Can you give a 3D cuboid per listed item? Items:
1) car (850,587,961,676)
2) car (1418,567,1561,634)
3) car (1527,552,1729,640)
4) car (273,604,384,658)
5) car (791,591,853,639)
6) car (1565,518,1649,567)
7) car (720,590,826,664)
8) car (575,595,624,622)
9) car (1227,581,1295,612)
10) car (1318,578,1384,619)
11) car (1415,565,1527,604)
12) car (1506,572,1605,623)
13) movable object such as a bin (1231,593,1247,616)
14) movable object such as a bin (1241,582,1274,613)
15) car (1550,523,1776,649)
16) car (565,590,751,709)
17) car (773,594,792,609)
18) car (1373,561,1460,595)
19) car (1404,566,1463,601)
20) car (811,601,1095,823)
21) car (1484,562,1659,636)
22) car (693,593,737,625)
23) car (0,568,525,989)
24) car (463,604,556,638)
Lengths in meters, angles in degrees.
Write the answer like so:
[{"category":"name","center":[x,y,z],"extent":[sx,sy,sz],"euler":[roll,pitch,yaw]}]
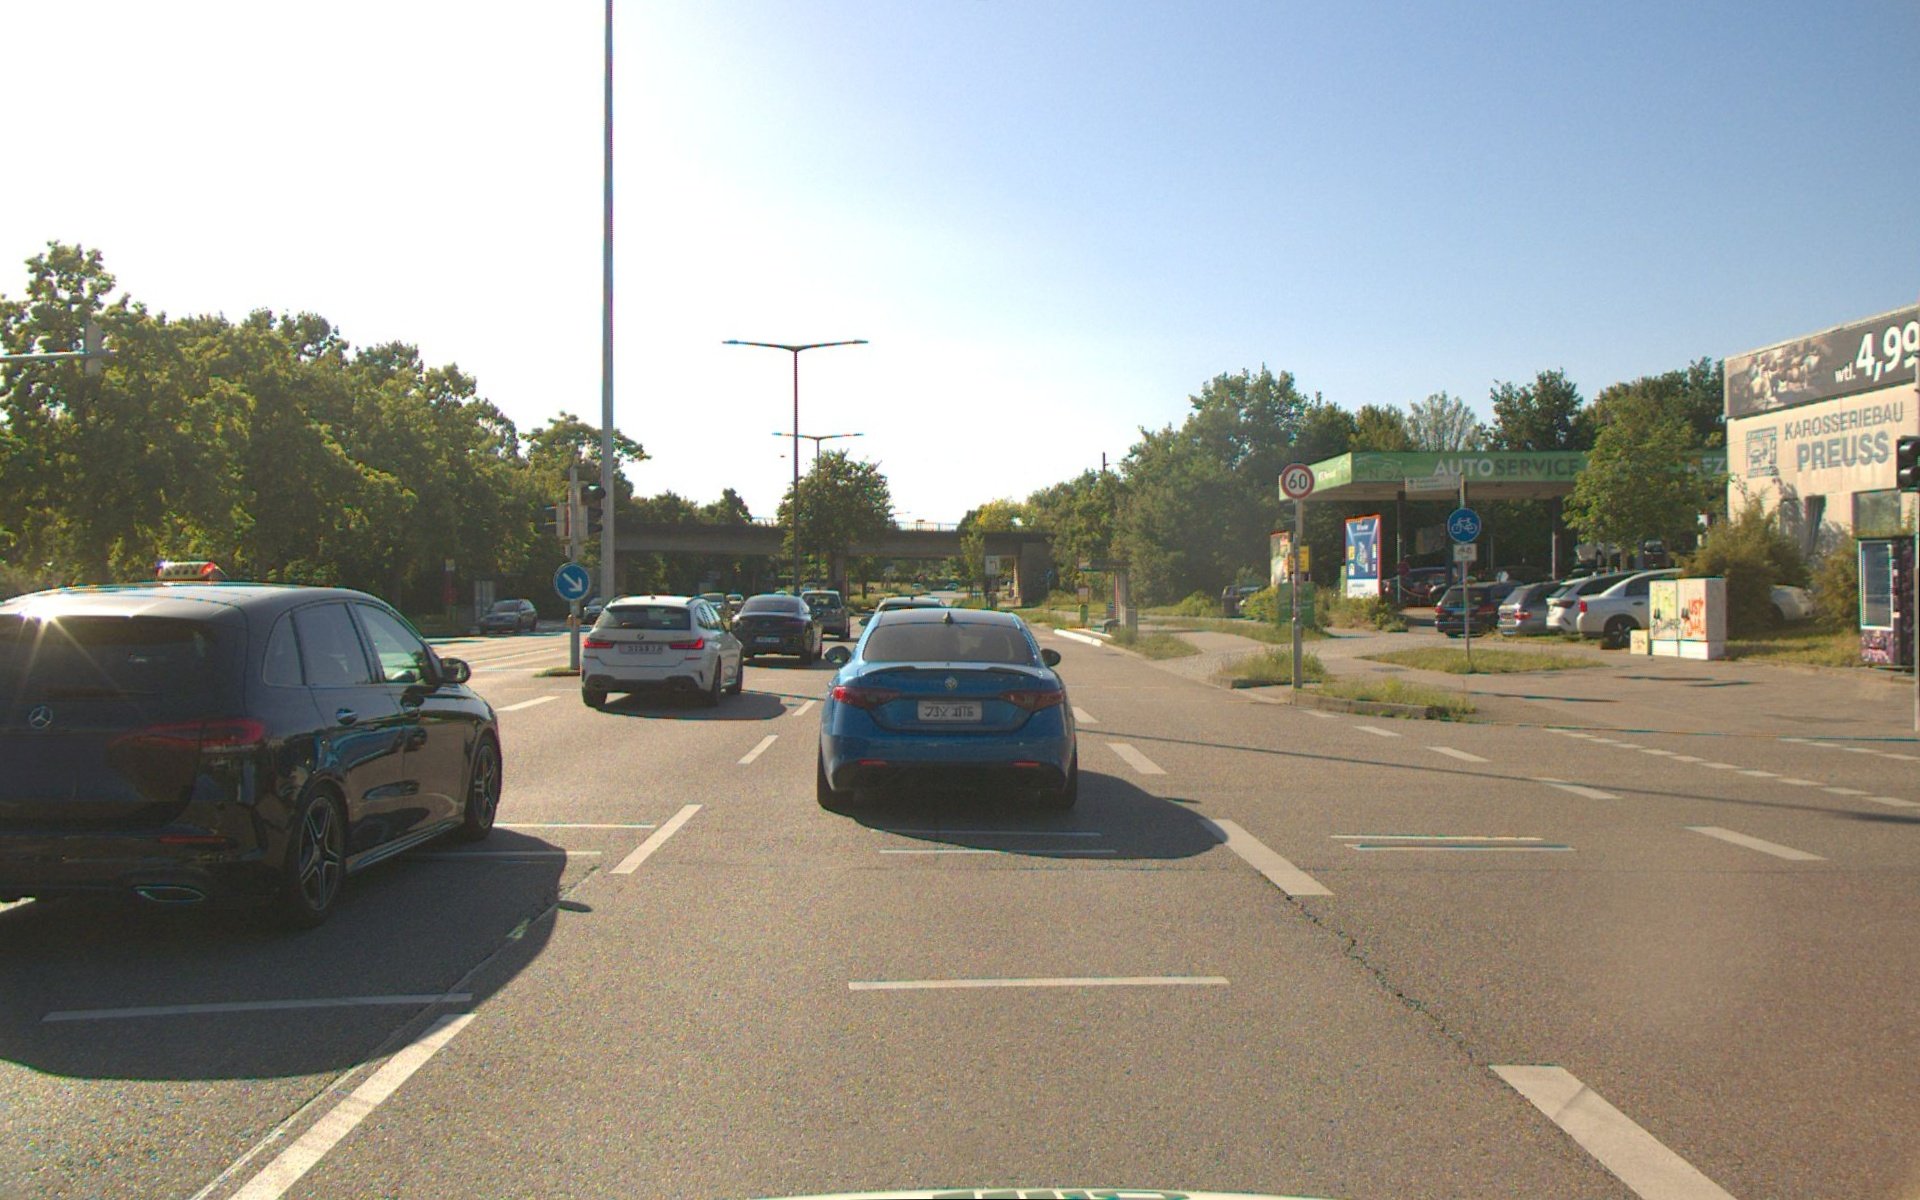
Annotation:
[{"category":"car","center":[-0.968,0.531,30.360],"extent":[1.845,1.479,4.525],"euler":[1,0,-1]},{"category":"car","center":[14.482,-0.017,45.049],"extent":[1.867,1.557,4.807],"euler":[-3,0,42]},{"category":"car","center":[15.109,-0.090,37.578],"extent":[3.837,1.477,1.726],"euler":[-8,-1,10]},{"category":"car","center":[-19.993,0.938,52.547],"extent":[1.953,1.552,4.195],"euler":[-1,1,-1]},{"category":"car","center":[-4.547,0.471,54.961],"extent":[1.743,1.479,4.181],"euler":[-1,0,-1]},{"category":"car","center":[26.176,-2.299,67.027],"extent":[1.879,1.785,3.778],"euler":[-1,0,0]},{"category":"car","center":[-4.019,0.562,36.198],"extent":[1.845,1.479,4.525],"euler":[1,0,-1]},{"category":"car","center":[-20.944,0.468,96.210],"extent":[1.953,1.500,4.195],"euler":[-1,0,-1]},{"category":"car","center":[15.760,-0.177,86.666],"extent":[3.216,1.512,1.772],"euler":[1,0,0]},{"category":"car","center":[16.024,-0.081,67.995],"extent":[1.709,1.600,4.248],"euler":[-1,0,0]},{"category":"car","center":[20.790,-0.625,67.405],"extent":[1.979,1.512,3.947],"euler":[1,0,-37]},{"category":"car","center":[20.838,-0.091,58.018],"extent":[1.953,1.676,3.999],"euler":[1,0,-1]},{"category":"movable object such as a bin","center":[13.736,0.203,81.394],"extent":[0.577,1.140,0.502],"euler":[0,0,-43]},{"category":"movable object such as a bin","center":[14.514,-0.128,80.656],"extent":[0.981,1.453,1.240],"euler":[0,1,-44]},{"category":"car","center":[14.514,-0.276,34.179],"extent":[3.915,2.047,1.683],"euler":[-8,0,32]},{"category":"car","center":[-4.133,0.629,23.331],"extent":[1.845,1.479,4.525],"euler":[1,0,-1]},{"category":"car","center":[-18.264,0.150,170.296],"extent":[1.608,1.476,4.110],"euler":[-2,0,-1]},{"category":"car","center":[23.429,-1.138,85.000],"extent":[3.954,1.558,1.734],"euler":[-3,0,0]},{"category":"car","center":[23.260,-0.809,81.421],"extent":[1.678,1.635,4.135],"euler":[1,0,-1]},{"category":"car","center":[-0.083,0.743,13.027],"extent":[1.845,1.431,4.223],"euler":[1,0,-1]},{"category":"car","center":[15.002,-0.012,40.706],"extent":[3.534,1.312,1.841],"euler":[-8,-1,0]},{"category":"car","center":[-13.530,0.480,91.676],"extent":[1.836,1.671,4.170],"euler":[-2,0,-1]},{"category":"car","center":[-3.622,0.691,8.554],"extent":[1.673,1.626,4.223],"euler":[1,0,-1]},{"category":"car","center":[-19.912,0.918,73.347],"extent":[1.951,1.400,4.627],"euler":[-1,0,14]}]
